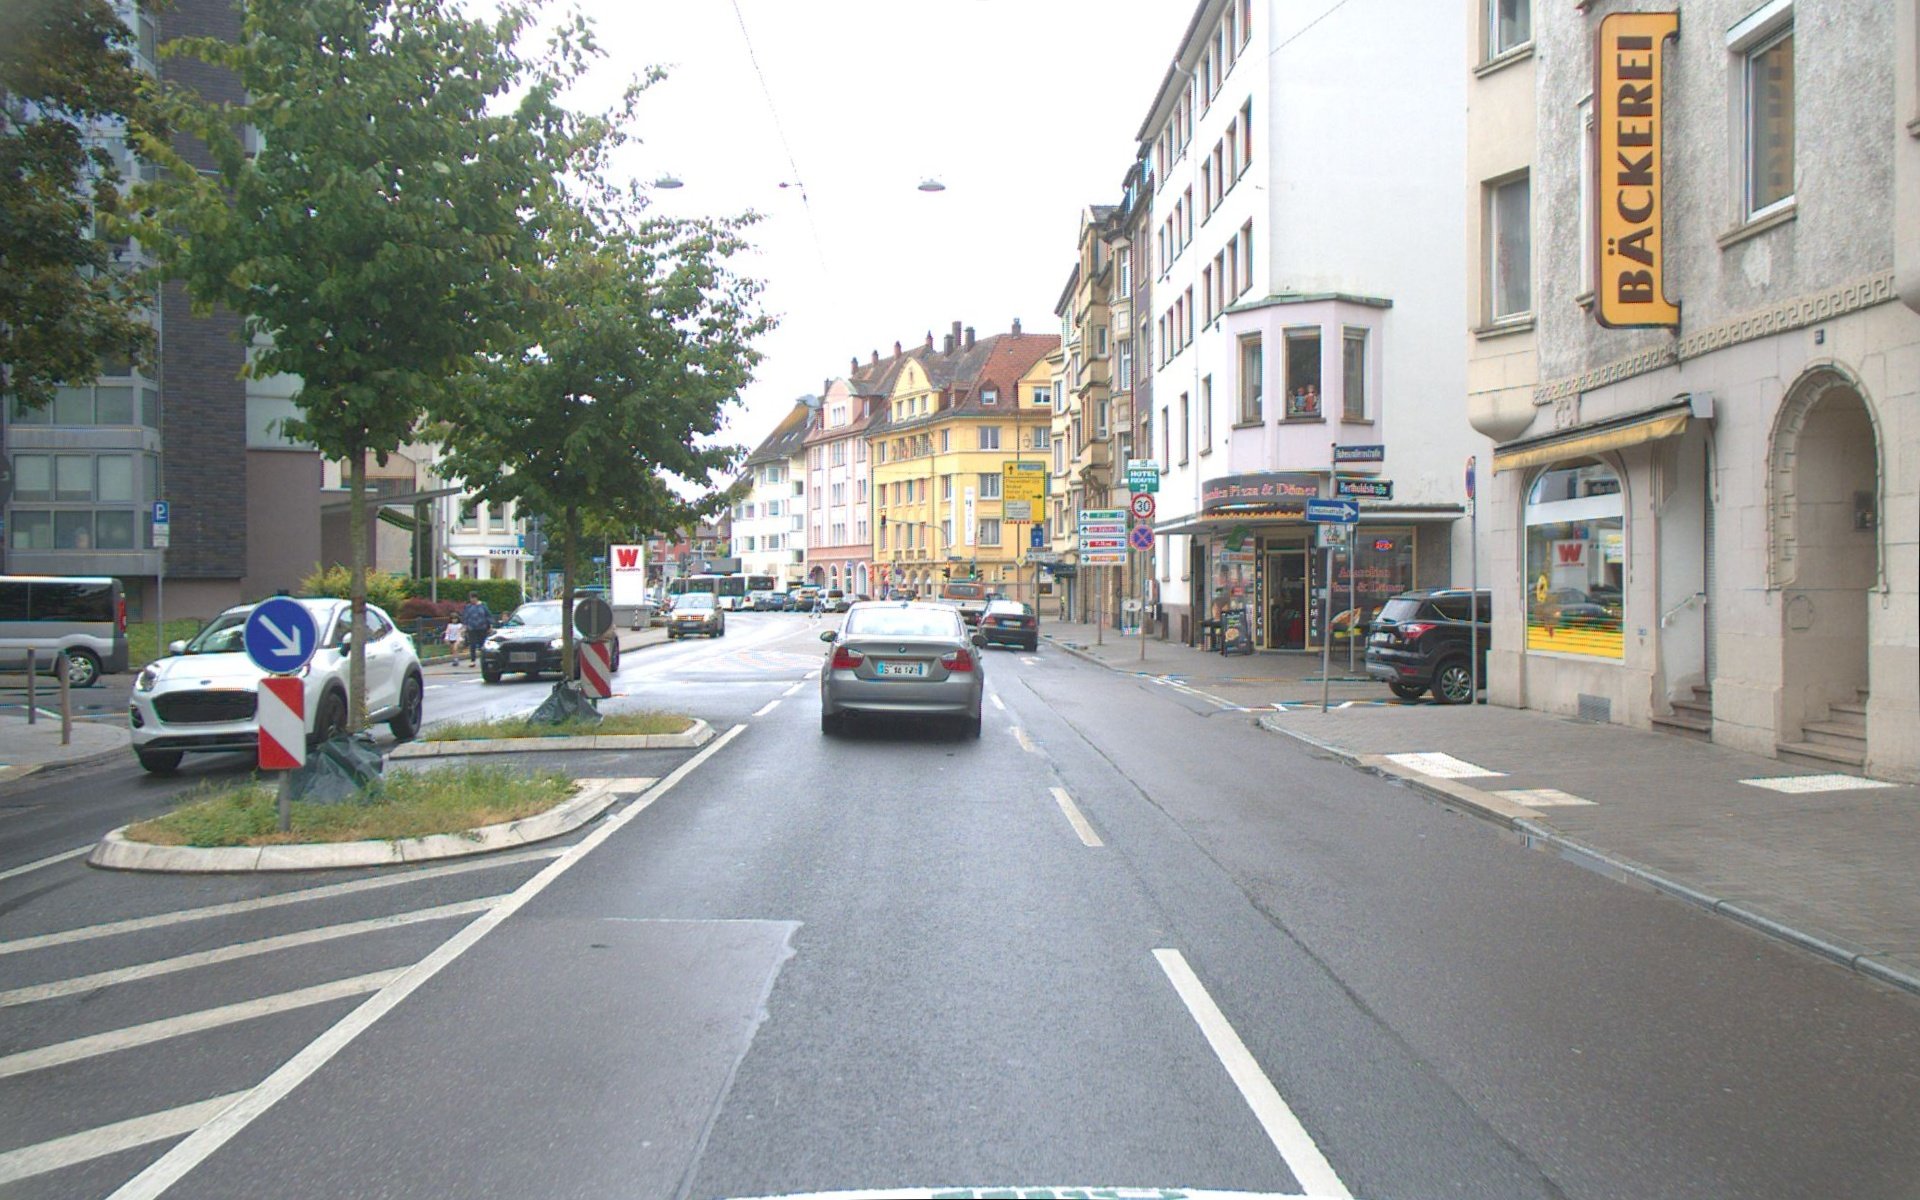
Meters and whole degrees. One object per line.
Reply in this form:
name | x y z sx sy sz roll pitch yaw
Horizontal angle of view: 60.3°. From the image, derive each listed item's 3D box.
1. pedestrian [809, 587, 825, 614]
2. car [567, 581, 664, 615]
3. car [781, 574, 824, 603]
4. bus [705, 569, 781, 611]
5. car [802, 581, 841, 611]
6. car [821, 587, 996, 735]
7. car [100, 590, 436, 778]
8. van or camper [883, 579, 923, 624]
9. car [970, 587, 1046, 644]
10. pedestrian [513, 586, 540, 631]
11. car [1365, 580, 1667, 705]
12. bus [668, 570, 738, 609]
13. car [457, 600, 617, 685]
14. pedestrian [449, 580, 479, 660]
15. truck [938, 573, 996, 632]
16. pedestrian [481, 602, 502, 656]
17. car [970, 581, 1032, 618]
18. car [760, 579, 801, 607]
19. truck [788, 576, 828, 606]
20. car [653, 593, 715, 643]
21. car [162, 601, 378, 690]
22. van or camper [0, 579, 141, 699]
pedestrian | -8.195 0.023 94.543 0.750 1.556 0.505 2 -1 -22
car | -16.336 -0.115 78.598 4.360 1.553 1.883 0 0 -7
car | -11.269 -0.805 118.133 1.966 2.049 3.973 0 0 -22
bus | -17.286 -0.814 131.335 2.877 3.159 9.053 -1 1 -29
car | -11.054 -0.323 131.859 1.741 2.218 3.966 3 0 -27
car | -0.612 0.636 18.814 1.763 1.490 4.368 0 -1 -3
car | -6.778 0.733 16.706 1.783 1.596 4.087 -2 1 -3
van or camper | -2.890 0.073 83.016 1.818 2.184 4.139 1 0 -4
car | 1.352 0.450 48.180 1.764 1.590 3.995 0 -1 -5
pedestrian | -16.642 0.333 63.501 0.741 1.715 0.743 0 0 44
car | 8.386 0.606 25.239 4.050 1.803 1.874 0 0 5
bus | -21.685 -0.864 139.056 2.878 3.159 8.782 -1 1 -30
car | -7.959 0.752 31.549 1.973 1.450 4.498 1 0 -2
pedestrian | -11.145 0.445 37.166 0.563 1.793 0.580 0 0 -8
truck | 0.243 0.100 67.488 2.180 2.289 5.061 1 0 -2
pedestrian | -10.573 0.651 37.315 0.401 1.219 0.310 0 0 -8
car | 2.359 -0.045 94.505 1.955 2.049 3.995 1 0 27
car | -13.423 -0.543 123.585 1.966 2.049 3.972 0 0 -23
truck | -12.612 -0.740 137.109 2.002 2.431 4.201 0 1 -26
car | -10.365 0.648 61.916 1.916 1.688 4.042 -3 1 -14
car | -13.166 0.835 31.610 3.547 1.597 1.720 1 0 -35
van or camper | -17.131 0.646 28.935 4.901 2.049 1.979 1 0 -31
